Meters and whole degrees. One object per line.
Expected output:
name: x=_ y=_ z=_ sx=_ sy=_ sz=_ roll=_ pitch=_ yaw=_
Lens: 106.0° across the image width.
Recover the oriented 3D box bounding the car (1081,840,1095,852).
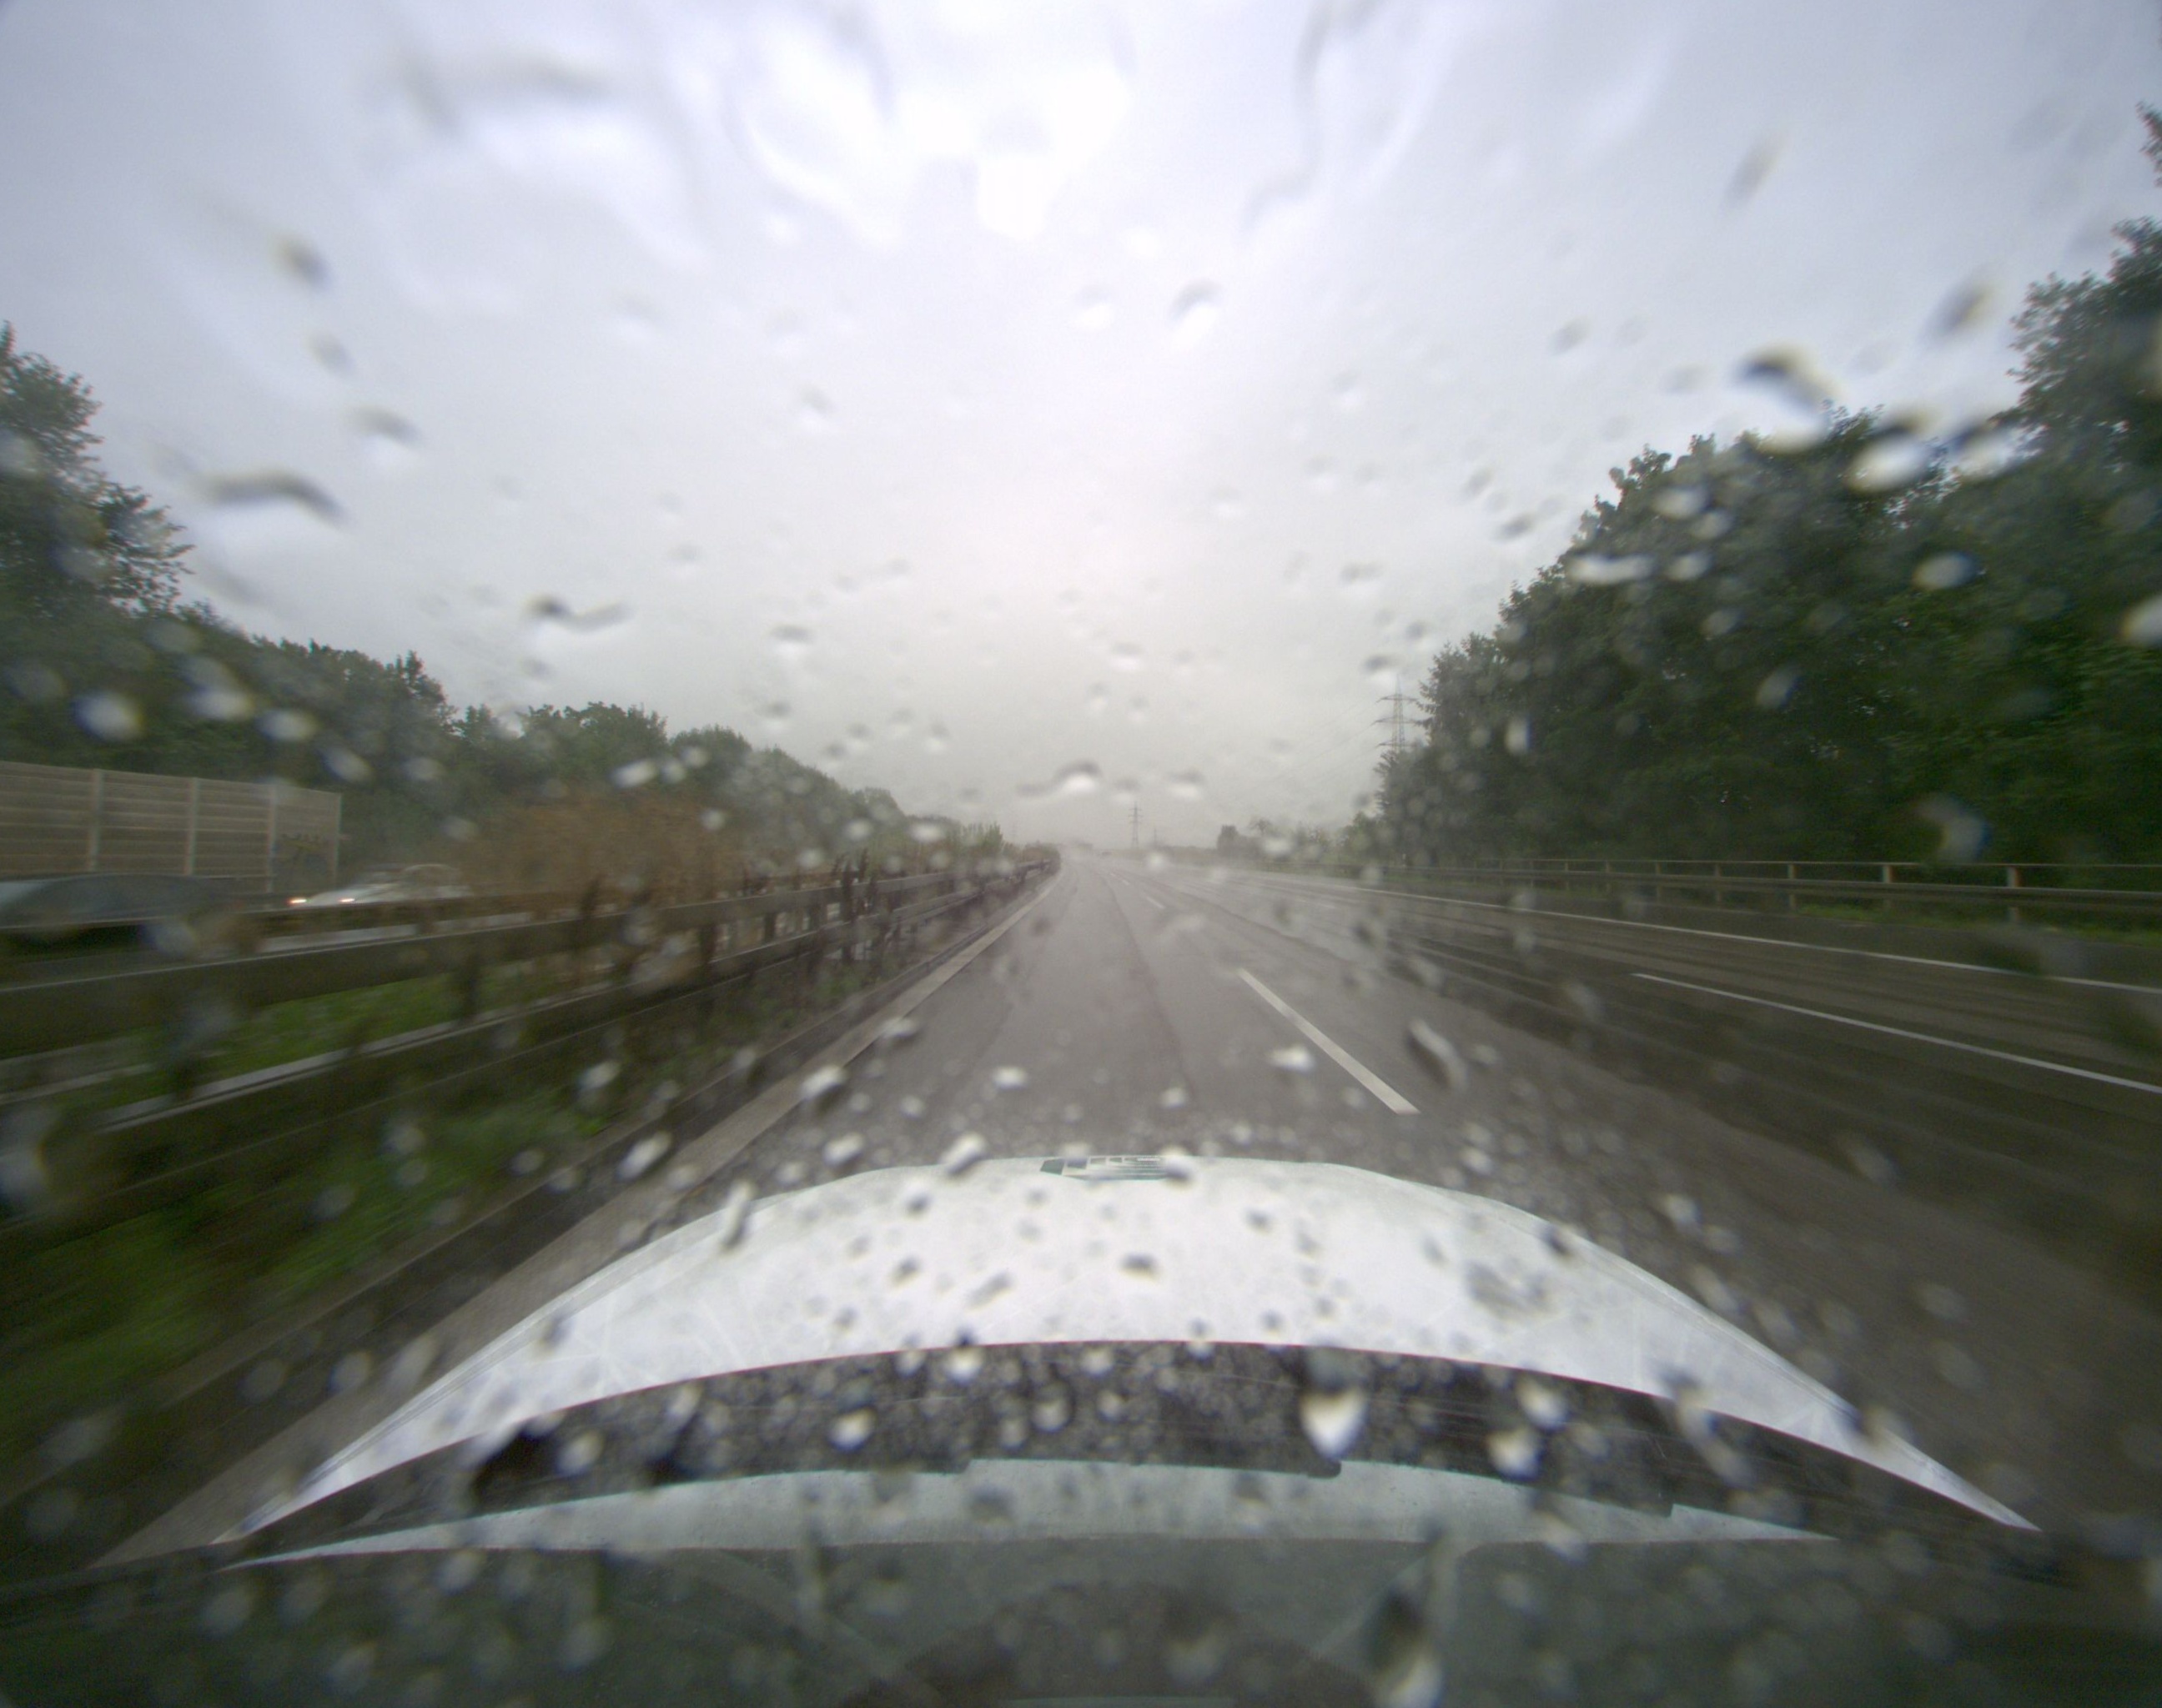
car: x=1.789 y=-2.195 z=226.111 sx=3.195 sy=3.192 sz=7.243 roll=0 pitch=0 yaw=-5

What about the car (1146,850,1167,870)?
car: x=8.250 y=0.666 z=89.523 sx=1.803 sy=2.158 sz=3.996 roll=0 pitch=0 yaw=-3

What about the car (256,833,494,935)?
car: x=-15.282 y=0.595 z=17.947 sx=1.849 sy=2.013 sz=3.781 roll=0 pitch=0 yaw=2
